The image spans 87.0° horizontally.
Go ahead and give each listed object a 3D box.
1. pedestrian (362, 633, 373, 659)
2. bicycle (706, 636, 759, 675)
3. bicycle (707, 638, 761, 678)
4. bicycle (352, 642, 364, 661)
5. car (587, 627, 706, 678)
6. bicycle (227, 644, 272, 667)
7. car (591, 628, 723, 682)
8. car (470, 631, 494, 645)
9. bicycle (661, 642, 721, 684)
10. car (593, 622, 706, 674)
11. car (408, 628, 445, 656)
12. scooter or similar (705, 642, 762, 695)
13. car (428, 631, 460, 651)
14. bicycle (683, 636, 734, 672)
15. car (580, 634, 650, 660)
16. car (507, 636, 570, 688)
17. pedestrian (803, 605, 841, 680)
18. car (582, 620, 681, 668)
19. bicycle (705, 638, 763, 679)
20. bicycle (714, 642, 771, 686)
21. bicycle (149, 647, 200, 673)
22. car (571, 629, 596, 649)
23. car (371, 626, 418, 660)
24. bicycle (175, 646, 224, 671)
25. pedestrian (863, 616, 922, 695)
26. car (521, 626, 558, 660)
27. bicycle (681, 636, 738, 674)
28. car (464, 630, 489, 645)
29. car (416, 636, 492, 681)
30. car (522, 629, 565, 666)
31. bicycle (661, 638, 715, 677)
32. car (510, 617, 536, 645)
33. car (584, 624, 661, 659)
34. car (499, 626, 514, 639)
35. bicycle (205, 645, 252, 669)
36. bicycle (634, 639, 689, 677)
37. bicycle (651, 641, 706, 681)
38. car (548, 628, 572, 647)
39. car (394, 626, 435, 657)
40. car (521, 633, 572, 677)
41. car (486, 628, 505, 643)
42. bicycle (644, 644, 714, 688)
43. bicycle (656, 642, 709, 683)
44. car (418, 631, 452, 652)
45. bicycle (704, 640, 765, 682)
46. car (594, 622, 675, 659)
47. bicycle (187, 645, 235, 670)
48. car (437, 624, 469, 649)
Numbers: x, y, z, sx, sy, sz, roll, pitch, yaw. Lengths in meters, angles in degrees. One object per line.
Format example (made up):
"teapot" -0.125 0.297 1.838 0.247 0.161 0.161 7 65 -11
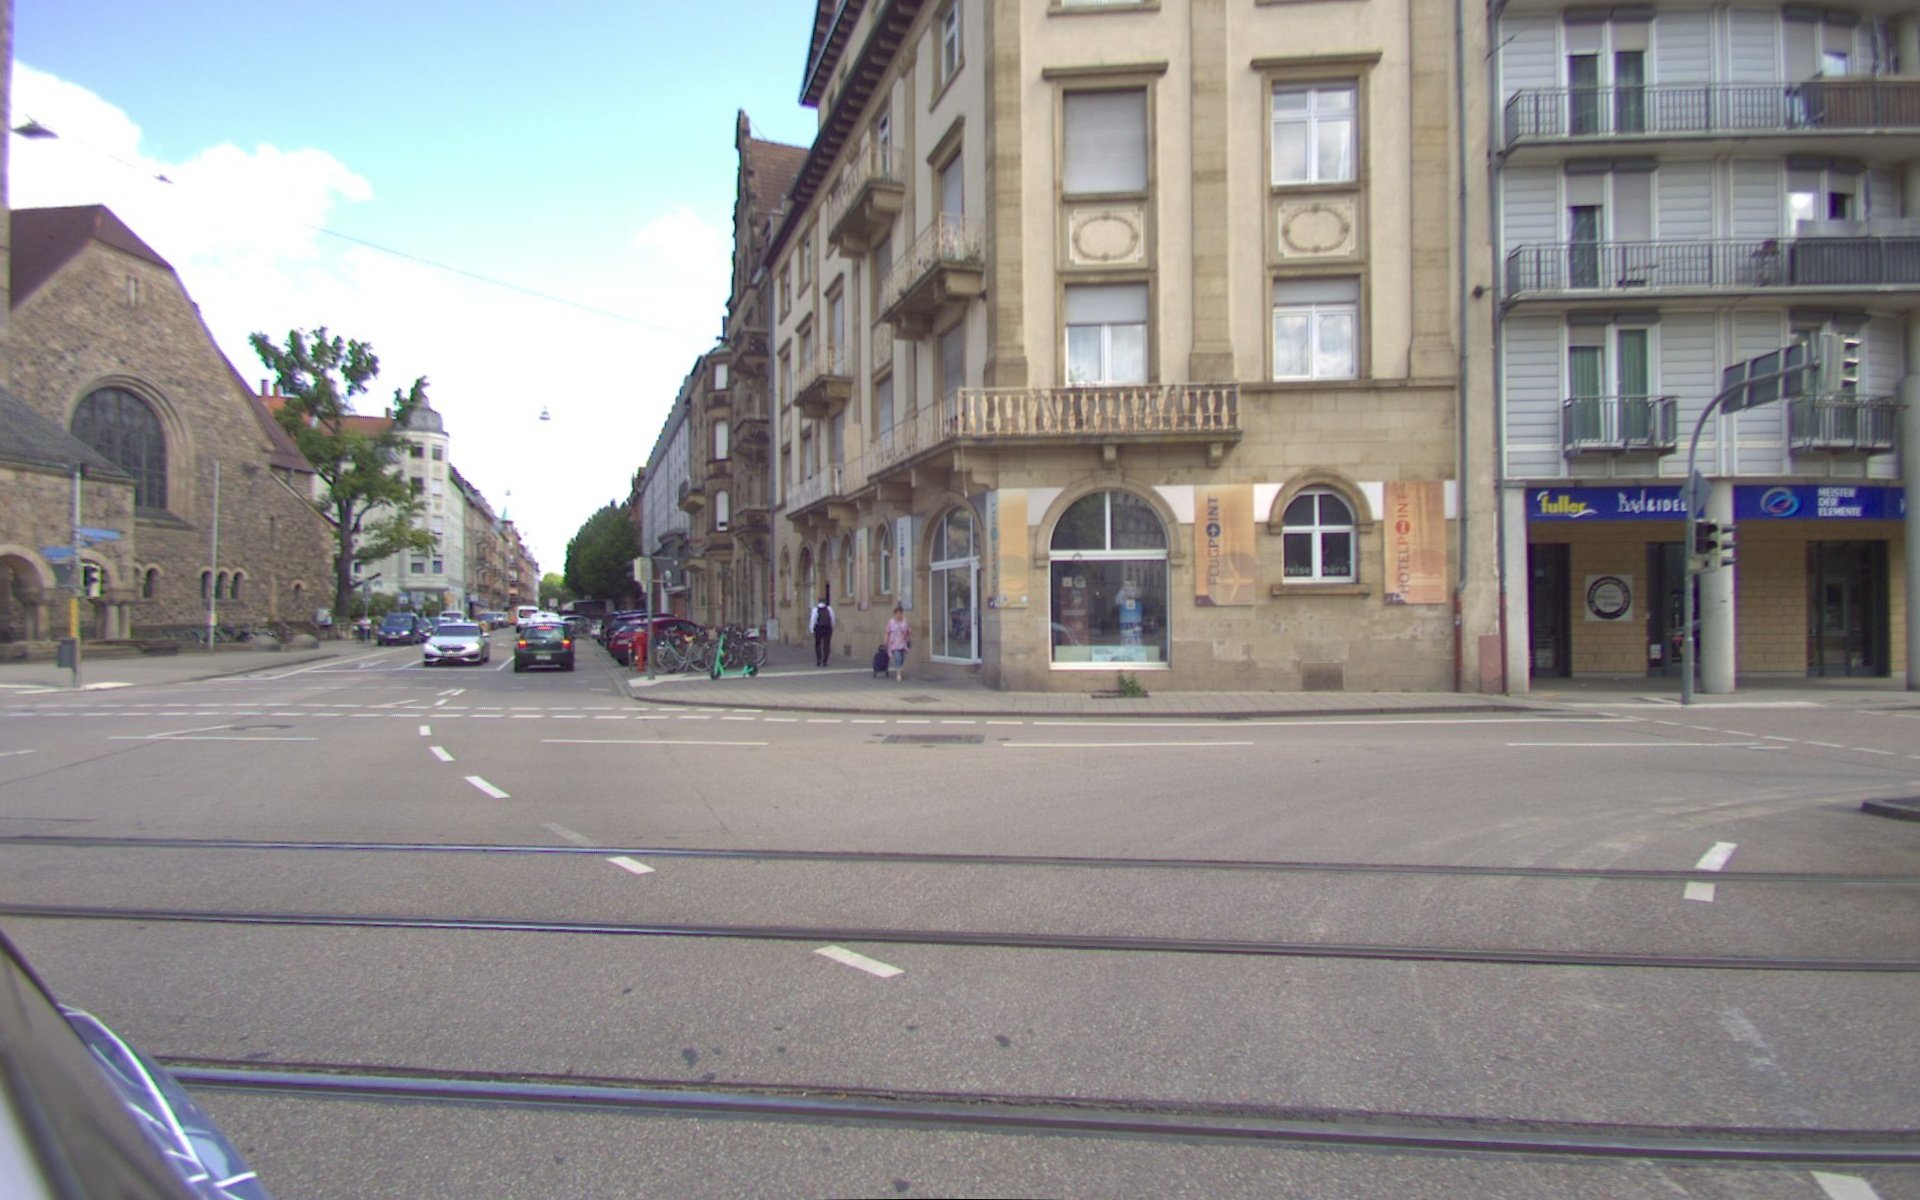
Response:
"pedestrian" -33.827 2.637 57.782 0.458 1.466 0.558 0 -2 -25
"bicycle" -6.809 1.655 30.271 1.459 1.060 0.464 -2 -1 -23
"bicycle" -6.620 1.695 29.637 1.459 1.060 0.464 -2 -1 -20
"bicycle" -34.248 2.941 57.547 0.472 1.060 1.448 0 -2 -26
"car" -11.109 1.827 36.069 1.723 1.468 3.917 -5 -1 28
"bicycle" -37.087 2.905 52.830 1.913 1.120 0.586 2 -1 1
"car" -9.925 1.789 33.433 1.806 1.468 3.957 -4 -1 31
"car" -48.926 3.916 103.596 1.780 1.378 4.199 0 -2 -20
"bicycle" -7.472 1.748 28.116 1.556 1.060 0.482 -3 -1 -13
"car" -11.885 1.816 38.992 1.795 1.702 3.915 -4 -1 30
"car" -35.634 2.783 67.683 1.655 1.805 4.012 0 -2 -20
"scooter or similar" -5.412 1.631 24.203 1.235 1.155 0.481 -3 -1 -3
"car" -39.209 3.100 76.969 1.655 1.508 3.903 0 -2 -20
"bicycle" -8.186 1.749 33.011 0.554 1.060 1.889 -3 -1 24
"car" -21.131 2.863 62.102 1.724 1.485 3.914 -2 -2 30
"car" -13.016 1.875 31.412 1.689 1.444 3.830 1 -1 -21
"pedestrian" -3.604 1.076 26.376 0.791 1.874 0.908 -1 1 -21
"car" -14.673 1.938 45.313 1.727 1.882 3.907 -3 -1 35
"bicycle" -6.465 1.673 28.923 1.556 1.060 0.482 -3 -1 -13
"bicycle" -5.784 1.691 26.971 1.419 1.060 0.481 -3 -1 -11
"bicycle" -37.236 2.825 47.992 1.913 1.120 0.586 2 -1 1
"car" -30.625 3.142 82.376 1.860 1.577 3.903 0 -2 -20
"car" -31.644 2.399 56.739 1.655 1.805 4.158 0 -2 -20
"bicycle" -37.245 2.851 49.568 1.913 1.120 0.586 2 -1 1
"pedestrian" -1.483 1.180 21.955 0.928 1.607 0.999 -4 0 -20
"car" -23.305 2.381 56.231 1.786 1.789 4.297 1 -3 -21
"bicycle" -7.730 1.695 31.257 1.604 1.060 0.560 -2 -1 -22
"car" -47.085 3.636 98.675 1.780 1.378 4.199 0 -2 -20
"car" -17.580 1.995 35.328 1.796 1.459 4.400 2 -2 -20
"car" -19.137 2.149 46.417 1.745 1.594 4.033 0 -2 -23
"bicycle" -8.157 1.718 30.375 1.459 1.060 0.464 -3 -1 -24
"car" -41.314 2.972 95.716 2.047 2.464 5.964 2 -3 -22
"car" -18.940 2.308 56.926 1.724 1.597 3.915 -5 -1 30
"car" -67.848 4.874 151.549 1.780 1.927 4.199 0 -2 -20
"bicycle" -37.057 2.878 51.273 1.913 1.120 0.586 2 -1 1
"bicycle" -9.103 1.759 30.890 0.554 1.060 1.798 -3 -1 23
"bicycle" -8.107 1.742 29.165 1.459 1.060 0.464 -2 -1 -20
"car" -35.258 3.284 89.315 1.860 1.664 3.903 0 -2 -20
"car" -33.281 2.529 61.850 1.655 1.805 4.012 0 -2 -20
"car" -15.728 2.062 38.552 1.722 1.552 3.944 0 -2 -22
"car" -57.005 4.300 124.303 1.780 1.779 4.199 0 -2 -20
"bicycle" -7.574 1.768 27.288 1.710 1.060 0.531 -3 -1 -4
"bicycle" -7.887 1.779 28.761 1.349 1.060 0.419 -3 -1 -22
"car" -37.361 2.932 72.122 1.655 1.458 3.810 0 -2 -20
"bicycle" -6.226 1.686 27.964 1.587 1.060 0.482 -3 -1 -13
"car" -17.309 2.147 54.030 1.724 1.597 3.915 -4 1 30
"bicycle" -37.225 2.863 50.284 1.913 1.120 0.586 2 -1 1
"car" -40.713 2.944 81.279 1.814 1.953 4.199 0 -2 -20
